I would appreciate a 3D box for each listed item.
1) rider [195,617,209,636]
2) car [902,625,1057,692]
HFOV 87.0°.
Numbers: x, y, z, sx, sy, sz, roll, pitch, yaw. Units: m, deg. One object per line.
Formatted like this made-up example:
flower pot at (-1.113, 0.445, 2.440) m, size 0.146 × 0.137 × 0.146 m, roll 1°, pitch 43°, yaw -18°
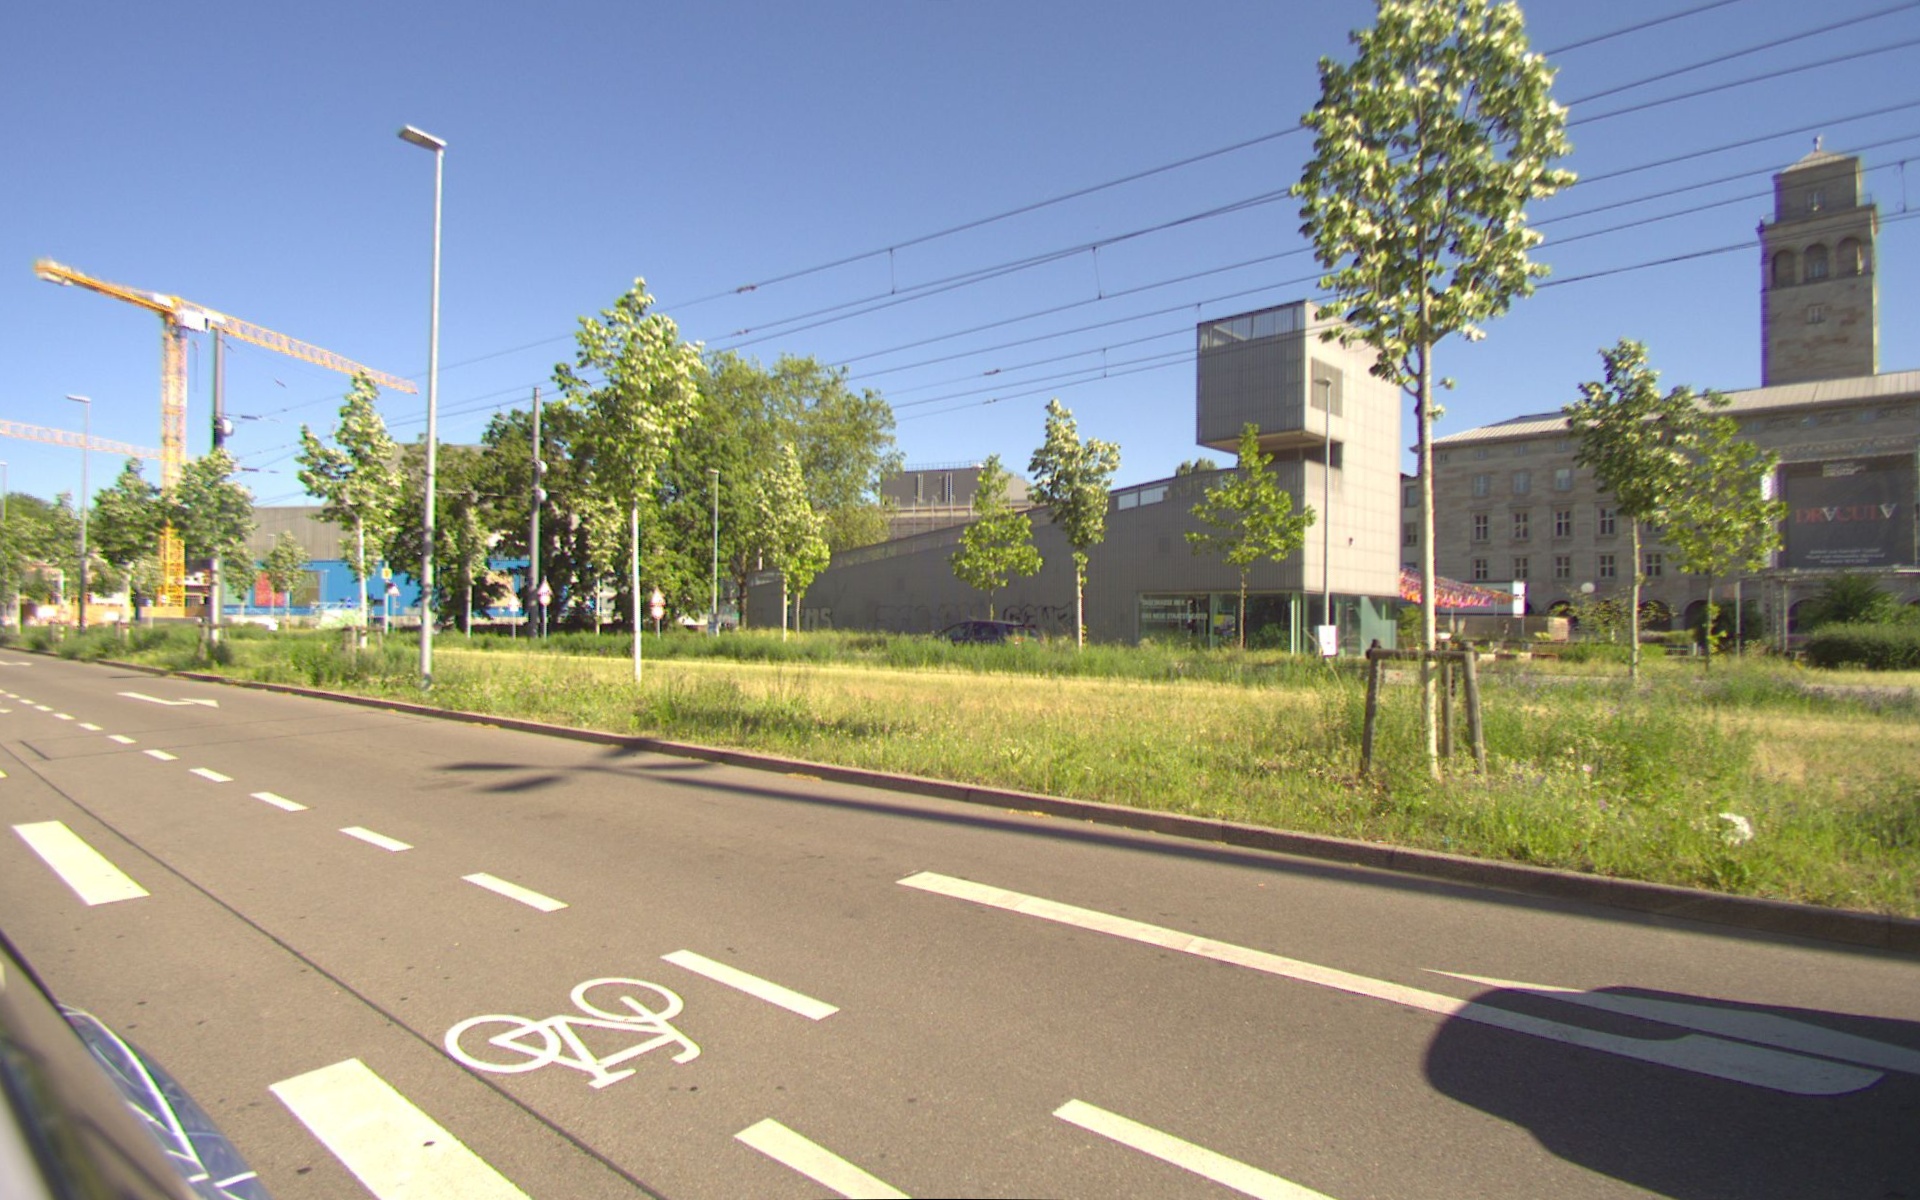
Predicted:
rider at (-60.745, 2.104, 81.107) m, size 0.631 × 1.534 × 0.715 m, roll -1°, pitch -2°, yaw 38°
car at (0.485, 1.537, 27.689) m, size 4.091 × 1.702 × 1.806 m, roll -1°, pitch -2°, yaw 43°
